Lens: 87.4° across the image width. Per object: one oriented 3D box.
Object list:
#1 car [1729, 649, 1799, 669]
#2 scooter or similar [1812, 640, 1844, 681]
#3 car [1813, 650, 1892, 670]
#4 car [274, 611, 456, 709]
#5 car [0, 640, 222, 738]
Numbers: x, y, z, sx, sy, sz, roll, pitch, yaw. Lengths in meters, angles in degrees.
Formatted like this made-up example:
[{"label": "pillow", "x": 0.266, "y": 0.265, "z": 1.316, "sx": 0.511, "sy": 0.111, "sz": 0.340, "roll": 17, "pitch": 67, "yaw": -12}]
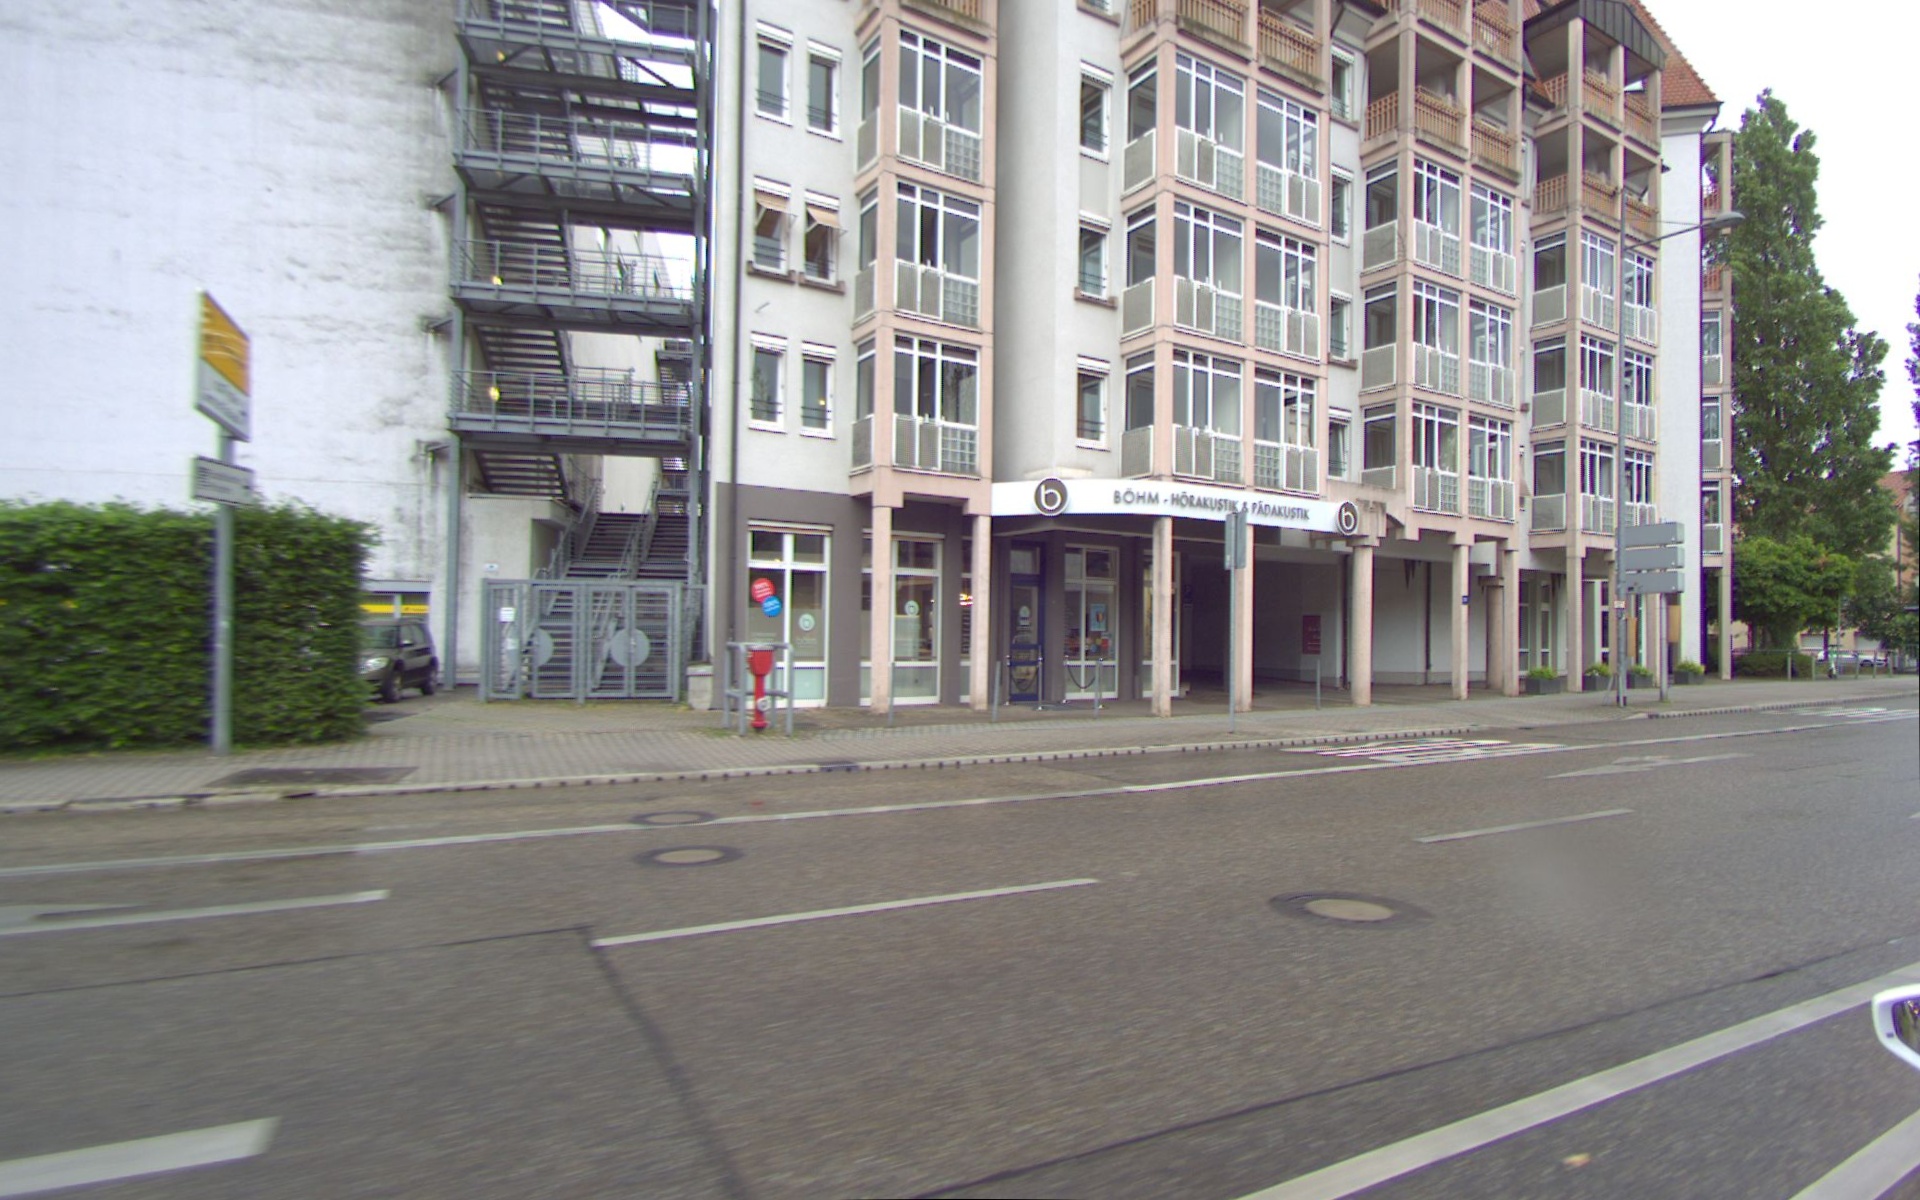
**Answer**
[{"label": "car", "x": 63.590, "y": 4.648, "z": 79.515, "sx": 1.877, "sy": 1.406, "sz": 3.968, "roll": 2, "pitch": -2, "yaw": -30}, {"label": "scooter or similar", "x": 30.406, "y": 2.105, "z": 35.192, "sx": 1.556, "sy": 1.331, "sz": 0.478, "roll": -1, "pitch": -1, "yaw": -36}, {"label": "car", "x": 66.319, "y": 4.434, "z": 74.696, "sx": 1.877, "sy": 1.406, "sz": 3.969, "roll": 2, "pitch": -3, "yaw": -30}, {"label": "car", "x": -11.744, "y": 1.156, "z": 20.151, "sx": 1.920, "sy": 1.761, "sz": 3.991, "roll": 1, "pitch": -2, "yaw": -12}, {"label": "car", "x": -17.206, "y": 1.689, "z": 20.159, "sx": 1.917, "sy": 1.596, "sz": 4.061, "roll": 2, "pitch": -1, "yaw": -3}]
